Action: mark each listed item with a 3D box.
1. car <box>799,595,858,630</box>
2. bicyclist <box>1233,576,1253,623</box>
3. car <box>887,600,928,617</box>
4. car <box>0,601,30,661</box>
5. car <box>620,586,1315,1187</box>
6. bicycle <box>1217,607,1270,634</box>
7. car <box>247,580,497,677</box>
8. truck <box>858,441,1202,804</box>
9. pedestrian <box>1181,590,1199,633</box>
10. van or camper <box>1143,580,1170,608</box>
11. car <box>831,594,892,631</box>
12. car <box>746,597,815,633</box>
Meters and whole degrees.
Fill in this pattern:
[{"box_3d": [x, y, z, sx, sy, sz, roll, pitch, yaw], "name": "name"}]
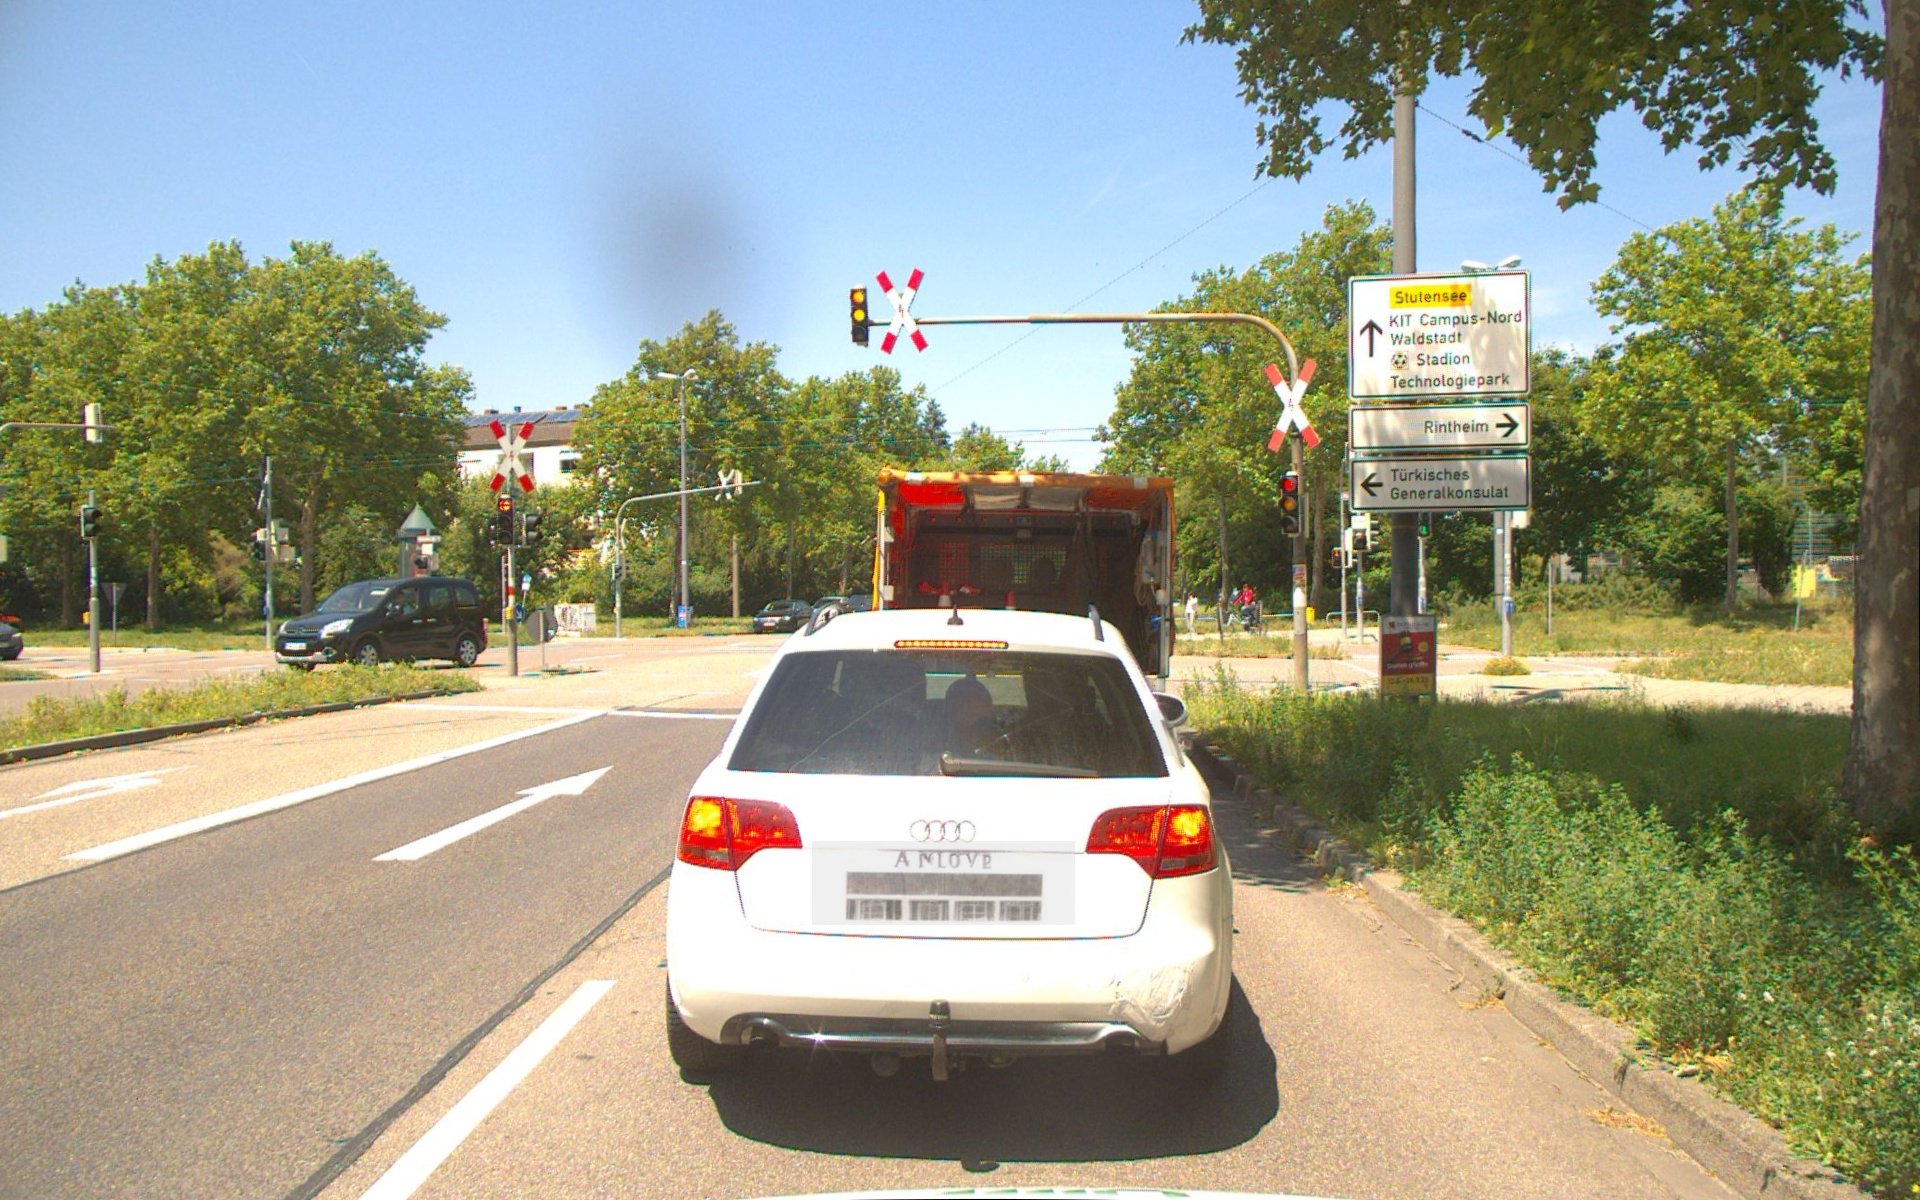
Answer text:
[{"box_3d": [-6.369, 0.600, 80.656, 1.749, 1.643, 4.408, -1, 0, 11], "name": "car"}, {"box_3d": [9.582, -0.010, 55.926, 0.657, 1.584, 0.580, 0, -1, 10], "name": "bicyclist"}, {"box_3d": [-4.381, 0.710, 139.019, 1.844, 1.417, 3.997, 0, 0, 26], "name": "car"}, {"box_3d": [-25.476, 0.792, 41.825, 3.907, 1.483, 1.760, 0, 0, 32], "name": "car"}, {"box_3d": [0.116, 0.699, 5.932, 1.725, 1.470, 3.617, 0, 0, 3], "name": "car"}, {"box_3d": [9.587, 0.684, 55.919, 1.767, 0.911, 0.589, 0, -1, 10], "name": "bicycle"}, {"box_3d": [-11.133, 0.489, 31.629, 1.874, 1.708, 4.439, -1, 0, 27], "name": "car"}, {"box_3d": [0.663, 0.170, 15.841, 2.459, 2.604, 7.605, 1, 0, 2], "name": "truck"}, {"box_3d": [8.108, 0.395, 58.395, 0.541, 1.510, 0.630, -1, 0, 16], "name": "pedestrian"}, {"box_3d": [23.745, -0.701, 199.785, 2.604, 3.389, 5.505, 0, 0, 14], "name": "van or camper"}, {"box_3d": [-4.378, 0.524, 74.050, 1.868, 1.566, 4.302, -1, 0, 8], "name": "car"}, {"box_3d": [-7.905, 0.629, 73.253, 1.907, 1.465, 4.750, 0, 1, 9], "name": "car"}]
